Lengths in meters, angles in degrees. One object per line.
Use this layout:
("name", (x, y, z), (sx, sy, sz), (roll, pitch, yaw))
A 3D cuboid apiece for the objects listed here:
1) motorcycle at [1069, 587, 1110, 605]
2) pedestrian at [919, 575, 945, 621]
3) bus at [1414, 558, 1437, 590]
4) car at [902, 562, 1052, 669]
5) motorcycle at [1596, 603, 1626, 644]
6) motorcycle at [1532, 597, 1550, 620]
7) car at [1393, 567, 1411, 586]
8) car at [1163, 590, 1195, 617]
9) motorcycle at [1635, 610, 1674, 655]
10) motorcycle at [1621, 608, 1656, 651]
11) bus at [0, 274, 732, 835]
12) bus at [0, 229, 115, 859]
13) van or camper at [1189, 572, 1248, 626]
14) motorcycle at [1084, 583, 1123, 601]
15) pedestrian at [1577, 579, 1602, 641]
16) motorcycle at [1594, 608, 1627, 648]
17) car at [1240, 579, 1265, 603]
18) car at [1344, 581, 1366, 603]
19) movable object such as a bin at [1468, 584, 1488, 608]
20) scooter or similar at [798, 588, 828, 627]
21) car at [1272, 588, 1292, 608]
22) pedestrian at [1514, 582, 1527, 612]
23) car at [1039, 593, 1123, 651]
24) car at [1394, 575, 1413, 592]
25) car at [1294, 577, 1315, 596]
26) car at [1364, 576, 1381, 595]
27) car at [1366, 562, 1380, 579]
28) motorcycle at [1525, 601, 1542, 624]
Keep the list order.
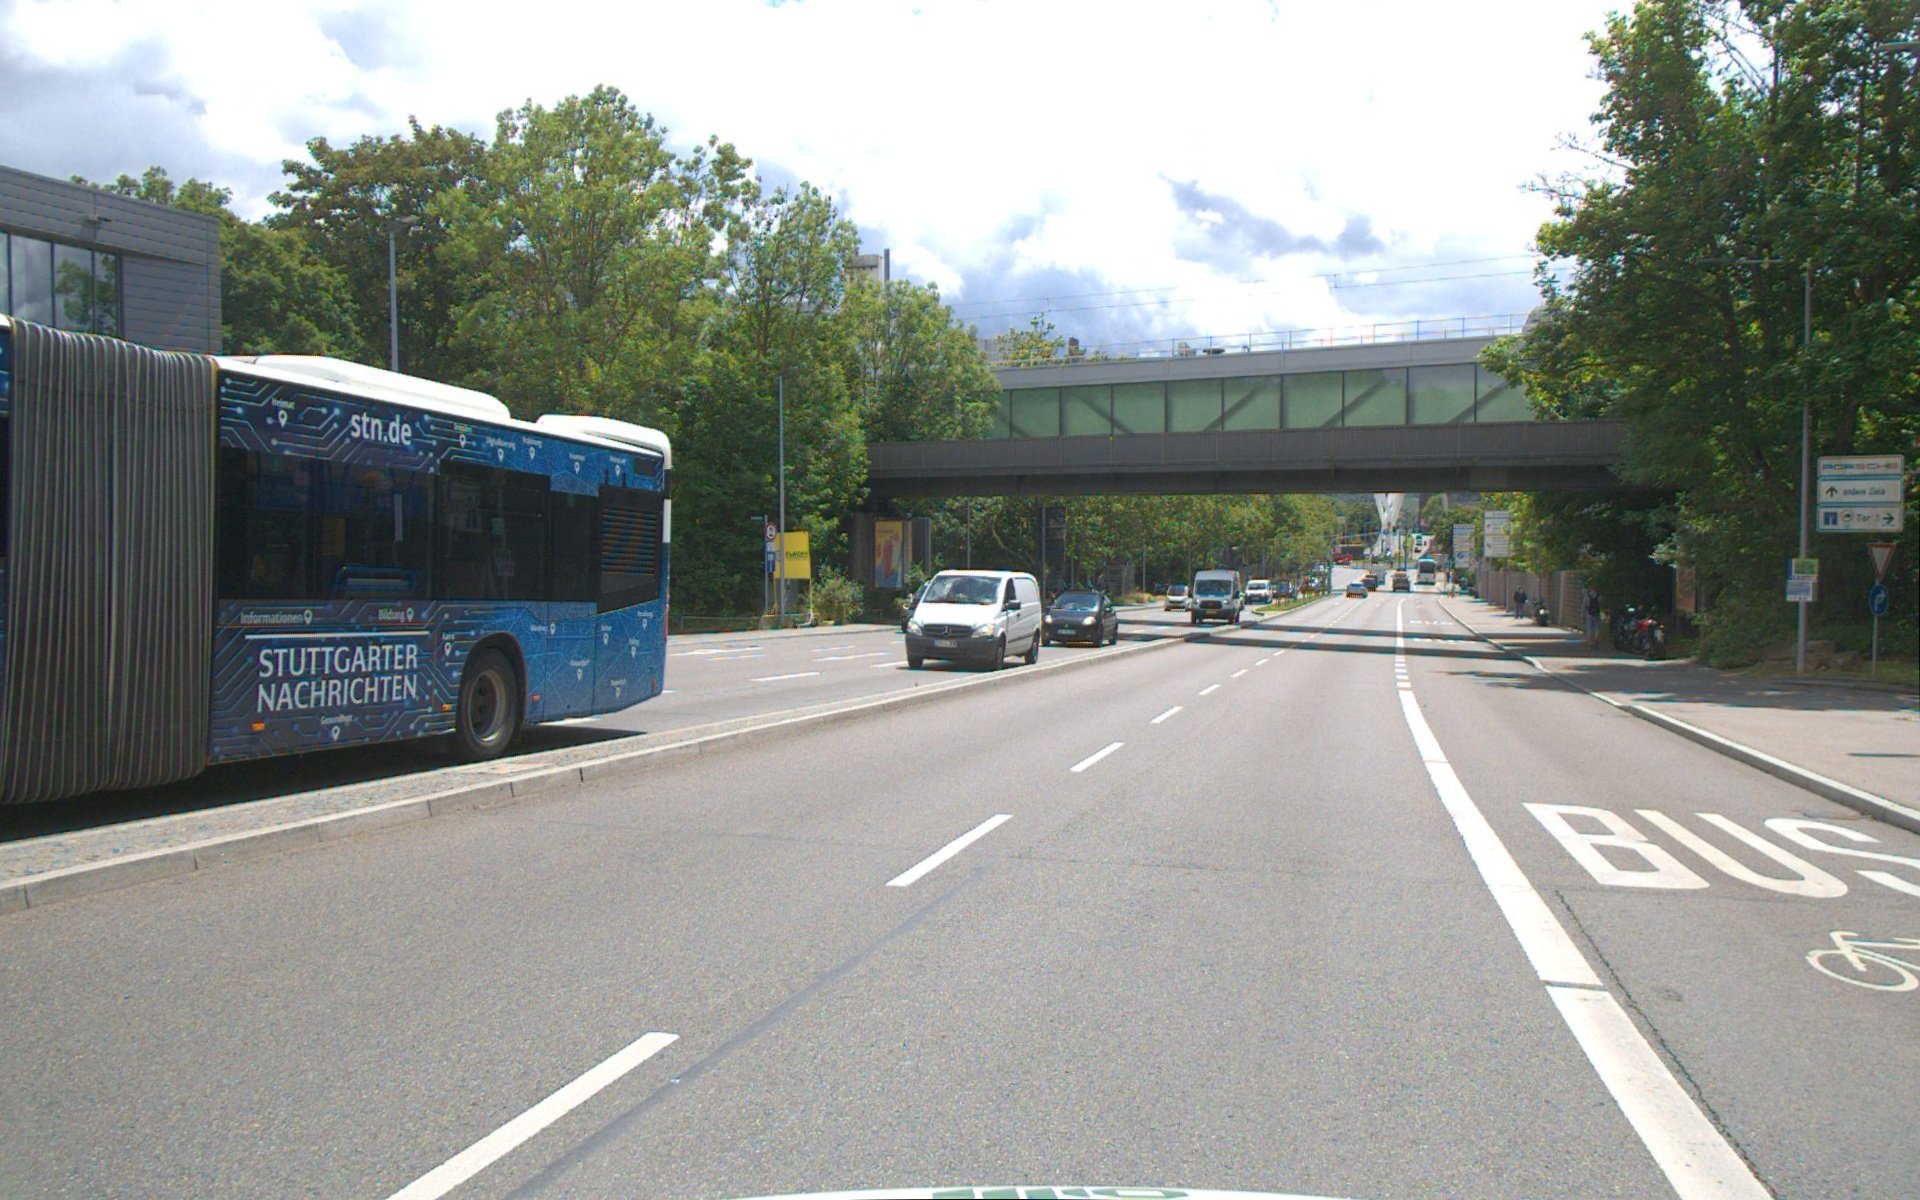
("motorcycle", (8.490, -0.286, 108.623), (2.527, 1.126, 0.793), (1, 0, 27))
("pedestrian", (-1.073, -0.083, 63.275), (0.709, 1.650, 0.721), (5, 4, 14))
("bus", (64.892, -3.662, 230.826), (2.737, 3.816, 9.481), (1, 5, 14))
("car", (0.431, 0.264, 33.335), (1.837, 1.958, 4.754), (1, 1, 15))
("motorcycle", (20.130, 0.714, 51.163), (0.535, 1.219, 1.905), (0, 0, 12))
("motorcycle", (27.646, 0.387, 78.663), (0.551, 1.047, 2.631), (0, 1, 14))
("car", (55.573, -2.977, 207.925), (1.951, 2.047, 4.004), (1, 5, 17))
("car", (13.550, 0.197, 102.353), (1.664, 1.578, 3.928), (1, 1, 12))
("motorcycle", (17.944, 0.826, 42.773), (0.535, 1.130, 2.019), (1, 0, 12))
("motorcycle", (18.544, 0.802, 45.230), (0.535, 1.130, 2.019), (1, 0, 12))
("bus", (-5.049, -0.350, 14.156), (2.756, 3.219, 8.914), (1, 1, 16))
("bus", (-7.590, -0.346, 4.995), (2.756, 3.342, 10.126), (1, 0, 16))
("van or camper", (12.221, -0.064, 77.857), (1.965, 2.443, 6.403), (1, 0, 16))
("motorcycle", (9.674, -0.527, 111.479), (2.527, 1.126, 0.793), (1, 0, 27))
("pedestrian", (19.349, 0.309, 50.838), (0.609, 1.891, 0.873), (1, -1, 13))
("motorcycle", (18.913, 0.812, 48.100), (0.535, 1.130, 2.019), (1, 0, 12))
("car", (21.797, -0.697, 123.069), (1.664, 1.728, 3.928), (1, 1, 12))
("car", (37.260, -0.778, 156.120), (1.889, 1.802, 4.005), (1, 5, 15))
("movable object such as a bin", (47.012, -0.380, 150.128), (1.630, 2.170, 1.278), (1, 0, 20))
("scooter or similar", (-4.825, 0.234, 54.229), (0.598, 1.232, 1.262), (1, 1, 14))
("car", (29.115, -0.213, 149.469), (1.664, 1.728, 3.927), (1, 1, 13))
("pedestrian", (31.693, -0.181, 93.566), (0.607, 1.646, 0.748), (1, 4, 14))
("car", (3.433, 0.571, 46.209), (1.602, 1.496, 3.779), (1, 1, 15))
("car", (49.815, -1.813, 185.783), (1.951, 1.892, 4.003), (1, 1, 14))
("car", (36.881, -1.451, 177.144), (1.951, 2.049, 4.003), (1, 1, 15))
("car", (46.578, -1.651, 186.783), (1.818, 1.734, 4.006), (0, 6, 14))
("car", (55.975, -3.997, 224.239), (1.834, 2.047, 3.698), (1, 5, 14))
("motorcycle", (28.483, 0.621, 82.167), (0.551, 1.047, 2.631), (0, 1, 14))
